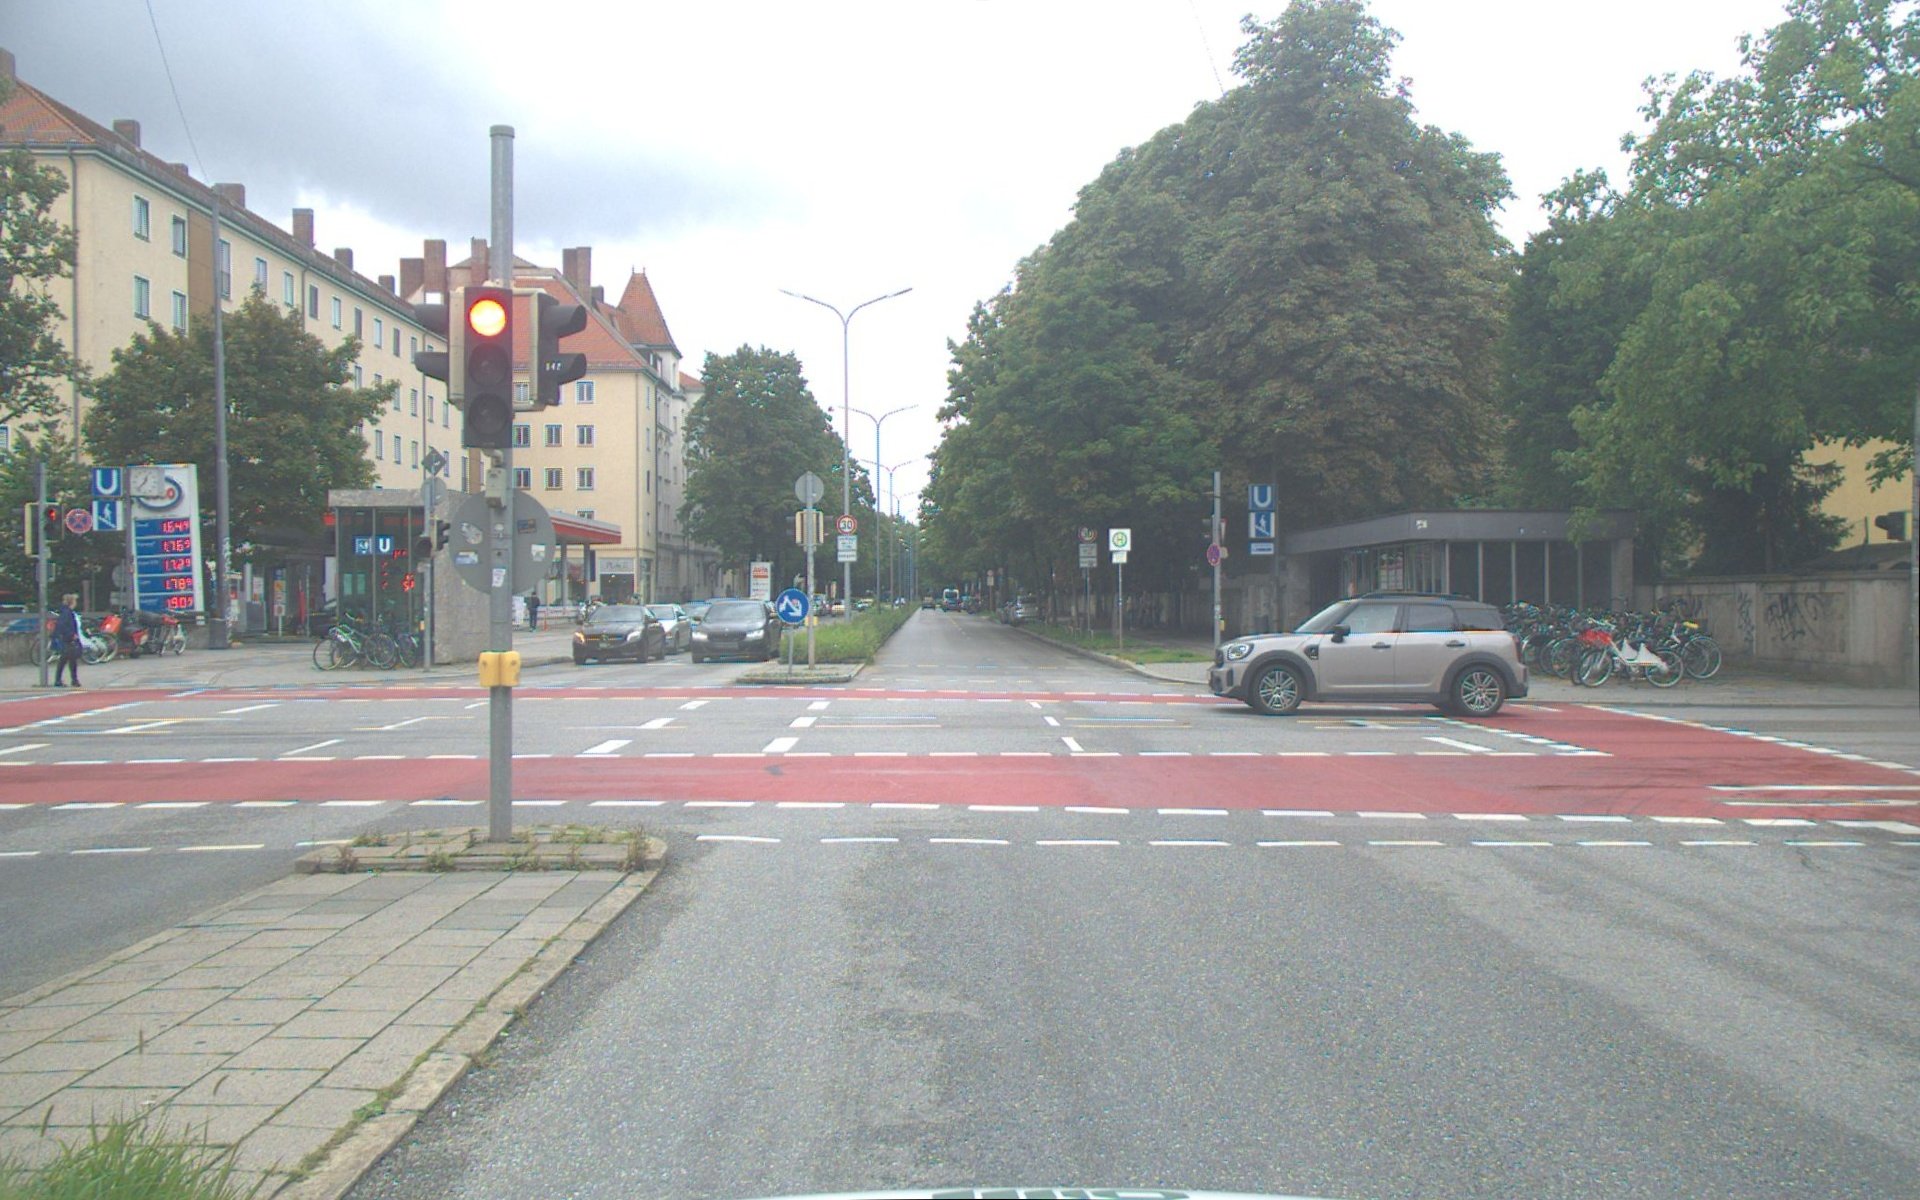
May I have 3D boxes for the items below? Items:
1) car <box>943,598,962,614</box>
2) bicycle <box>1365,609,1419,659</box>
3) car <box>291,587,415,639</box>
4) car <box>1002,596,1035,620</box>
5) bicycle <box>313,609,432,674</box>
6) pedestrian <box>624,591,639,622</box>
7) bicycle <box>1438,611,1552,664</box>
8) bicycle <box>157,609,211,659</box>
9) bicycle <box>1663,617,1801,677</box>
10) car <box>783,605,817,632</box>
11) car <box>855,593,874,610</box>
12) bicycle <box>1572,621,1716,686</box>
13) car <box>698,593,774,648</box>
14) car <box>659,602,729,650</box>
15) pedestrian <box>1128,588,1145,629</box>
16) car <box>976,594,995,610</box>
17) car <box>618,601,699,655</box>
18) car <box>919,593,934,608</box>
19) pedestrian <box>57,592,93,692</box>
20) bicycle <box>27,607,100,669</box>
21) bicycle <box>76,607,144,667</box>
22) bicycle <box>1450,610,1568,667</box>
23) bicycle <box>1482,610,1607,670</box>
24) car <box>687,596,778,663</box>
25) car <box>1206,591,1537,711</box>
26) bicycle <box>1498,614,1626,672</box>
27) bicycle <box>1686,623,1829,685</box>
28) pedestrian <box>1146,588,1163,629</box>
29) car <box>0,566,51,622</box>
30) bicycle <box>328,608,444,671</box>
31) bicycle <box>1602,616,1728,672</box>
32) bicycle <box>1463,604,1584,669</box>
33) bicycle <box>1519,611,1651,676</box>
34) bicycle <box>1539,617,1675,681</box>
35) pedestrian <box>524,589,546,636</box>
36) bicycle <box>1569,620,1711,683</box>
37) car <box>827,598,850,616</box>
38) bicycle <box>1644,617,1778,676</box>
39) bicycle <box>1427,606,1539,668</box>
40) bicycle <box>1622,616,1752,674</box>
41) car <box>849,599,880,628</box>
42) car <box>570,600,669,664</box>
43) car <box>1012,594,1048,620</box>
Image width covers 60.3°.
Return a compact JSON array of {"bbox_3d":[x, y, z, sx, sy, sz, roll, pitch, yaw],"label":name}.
[{"bbox_3d":[-0.818,0.641,177.795,1.884,1.713,3.999,0,0,-1],"label":"car"},{"bbox_3d":[9.445,0.734,36.219,0.545,1.032,2.014,0,0,-3],"label":"bicycle"},{"bbox_3d":[-22.504,0.473,61.409,3.908,1.870,1.879,0,0,-4],"label":"car"},{"bbox_3d":[3.512,0.450,99.776,1.708,1.387,3.805,0,0,-1],"label":"car"},{"bbox_3d":[-12.296,0.855,34.664,2.225,1.327,0.704,0,0,0],"label":"bicycle"},{"bbox_3d":[-17.496,0.343,88.074,0.682,1.666,0.738,0,0,-1],"label":"pedestrian"},{"bbox_3d":[10.663,0.738,33.009,2.097,1.032,0.603,0,0,7],"label":"bicycle"},{"bbox_3d":[-18.836,0.811,40.166,0.596,1.165,1.962,0,0,-7],"label":"bicycle"},{"bbox_3d":[13.486,0.819,28.940,2.097,1.032,0.634,0,0,7],"label":"bicycle"},{"bbox_3d":[-9.404,1.095,97.569,1.724,1.519,3.999,0,0,-1],"label":"car"},{"bbox_3d":[-10.694,0.152,184.845,1.912,1.855,3.999,0,0,-1],"label":"car"},{"bbox_3d":[11.225,0.878,27.171,2.097,1.032,0.603,0,0,7],"label":"bicycle"},{"bbox_3d":[-6.453,0.563,48.040,1.724,1.519,3.999,0,0,-1],"label":"car"},{"bbox_3d":[-8.745,0.834,54.596,1.724,1.486,3.999,0,0,-1],"label":"car"},{"bbox_3d":[7.339,0.354,68.717,0.663,1.712,0.683,0,0,5],"label":"pedestrian"},{"bbox_3d":[2.427,0.174,159.512,1.708,1.452,3.898,0,0,-1],"label":"car"},{"bbox_3d":[-8.761,0.792,48.362,1.724,1.486,3.999,0,0,-1],"label":"car"},{"bbox_3d":[-4.184,0.044,203.483,1.819,1.713,3.999,0,0,-1],"label":"car"},{"bbox_3d":[-15.475,0.727,28.938,0.527,1.725,0.572,0,0,-27],"label":"pedestrian"},{"bbox_3d":[-19.053,0.791,35.187,0.596,1.257,2.183,0,0,-7],"label":"bicycle"},{"bbox_3d":[-18.488,0.788,36.019,0.596,1.257,2.183,0,0,-7],"label":"bicycle"},{"bbox_3d":[10.651,0.752,32.128,2.097,1.080,0.603,0,0,7],"label":"bicycle"},{"bbox_3d":[10.842,0.739,30.739,2.097,1.105,0.603,0,0,7],"label":"bicycle"},{"bbox_3d":[-5.476,0.680,40.242,1.724,1.519,3.999,0,0,-1],"label":"car"},{"bbox_3d":[5.473,0.668,22.364,4.081,1.540,1.696,0,0,2],"label":"car"},{"bbox_3d":[10.889,0.775,29.963,2.097,1.032,0.603,0,0,7],"label":"bicycle"},{"bbox_3d":[13.551,0.919,28.143,2.097,1.032,0.634,0,0,7],"label":"bicycle"},{"bbox_3d":[8.092,0.340,68.847,0.663,1.712,0.683,0,0,5],"label":"pedestrian"},{"bbox_3d":[-29.856,-0.168,49.878,3.871,1.637,1.817,0,0,3],"label":"car"},{"bbox_3d":[-12.287,0.842,35.444,2.238,1.327,0.694,0,0,0],"label":"bicycle"},{"bbox_3d":[13.315,0.825,31.283,2.097,1.032,0.634,0,0,7],"label":"bicycle"},{"bbox_3d":[10.693,0.691,31.427,2.097,1.199,0.603,0,0,7],"label":"bicycle"},{"bbox_3d":[11.029,0.769,29.251,2.097,1.120,0.603,0,0,7],"label":"bicycle"},{"bbox_3d":[11.177,0.841,28.599,2.097,1.089,0.603,0,0,7],"label":"bicycle"},{"bbox_3d":[-18.831,0.547,73.288,0.715,2.049,0.834,1,-1,-1],"label":"pedestrian"},{"bbox_3d":[11.409,0.865,27.798,2.097,1.032,0.634,0,0,7],"label":"bicycle"},{"bbox_3d":[-10.370,0.572,141.691,1.724,1.486,3.999,0,0,-1],"label":"car"},{"bbox_3d":[13.477,0.824,29.707,2.097,1.032,0.634,0,0,7],"label":"bicycle"},{"bbox_3d":[10.650,0.747,33.728,2.097,1.240,0.603,0,0,7],"label":"bicycle"},{"bbox_3d":[13.382,0.824,30.499,2.097,1.032,0.634,0,0,7],"label":"bicycle"},{"bbox_3d":[-4.883,0.670,85.049,1.438,1.423,3.699,0,0,-1],"label":"car"},{"bbox_3d":[-8.456,0.763,41.382,1.724,1.486,3.999,0,0,-1],"label":"car"},{"bbox_3d":[3.789,0.348,89.818,1.708,1.387,3.805,0,0,-1],"label":"car"}]
